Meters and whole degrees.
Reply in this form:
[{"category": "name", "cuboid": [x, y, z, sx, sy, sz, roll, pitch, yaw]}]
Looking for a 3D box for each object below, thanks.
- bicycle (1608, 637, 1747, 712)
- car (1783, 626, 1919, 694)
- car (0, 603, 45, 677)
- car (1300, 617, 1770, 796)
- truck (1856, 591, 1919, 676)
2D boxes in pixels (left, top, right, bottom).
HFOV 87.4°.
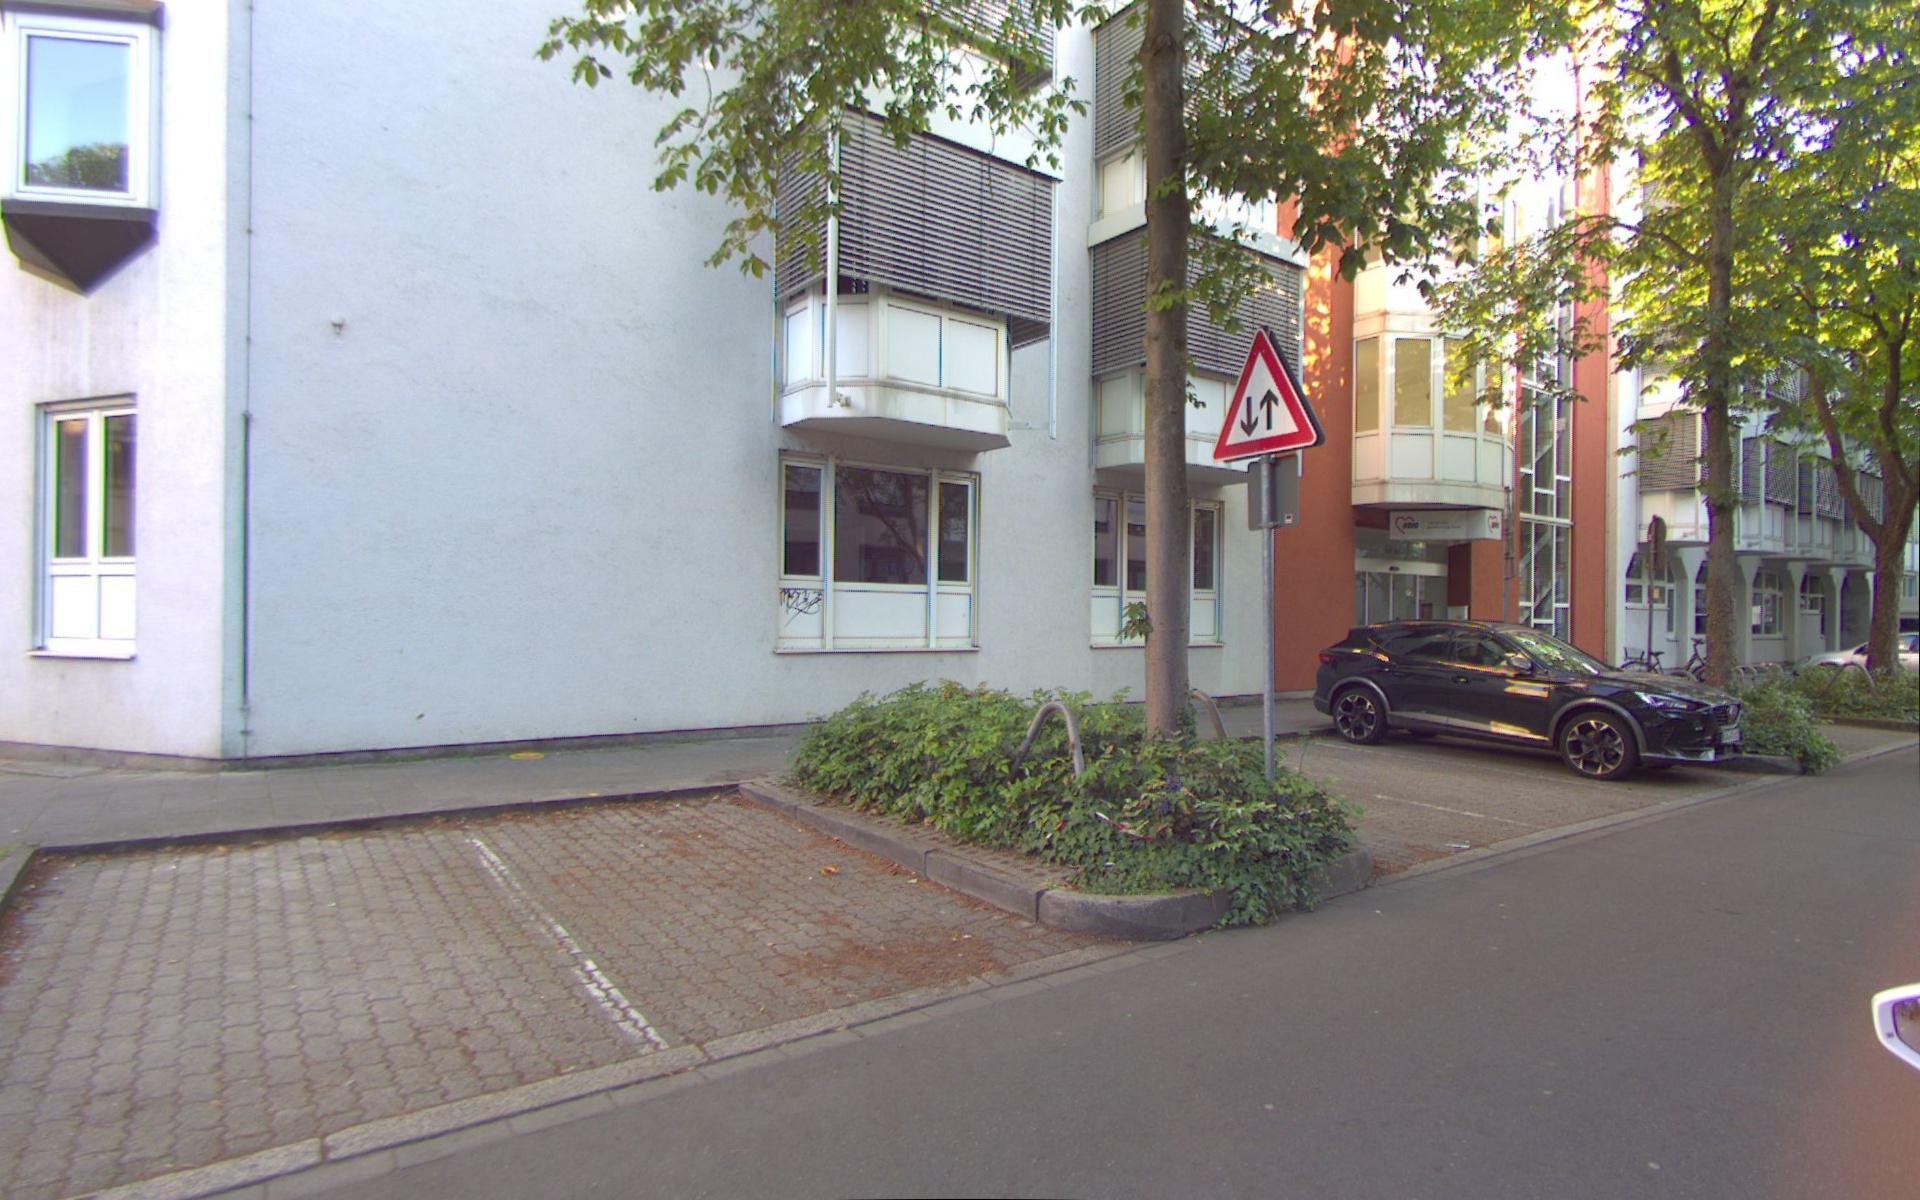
[{"category": "bicycle", "cuboid": [12.667, 1.290, 17.775, 1.949, 1.215, 0.499, 0, -1, 44]}, {"category": "car", "cuboid": [22.611, 1.433, 24.124, 1.624, 1.491, 4.104, 1, 0, -36]}, {"category": "car", "cuboid": [-20.674, 0.822, 20.060, 1.666, 1.534, 4.272, 0, -1, -14]}, {"category": "car", "cuboid": [6.324, 1.025, 11.543, 1.817, 1.529, 4.326, 1, 0, -36]}, {"category": "truck", "cuboid": [29.424, 1.005, 29.022, 1.896, 2.474, 4.967, 0, 1, -34]}]
